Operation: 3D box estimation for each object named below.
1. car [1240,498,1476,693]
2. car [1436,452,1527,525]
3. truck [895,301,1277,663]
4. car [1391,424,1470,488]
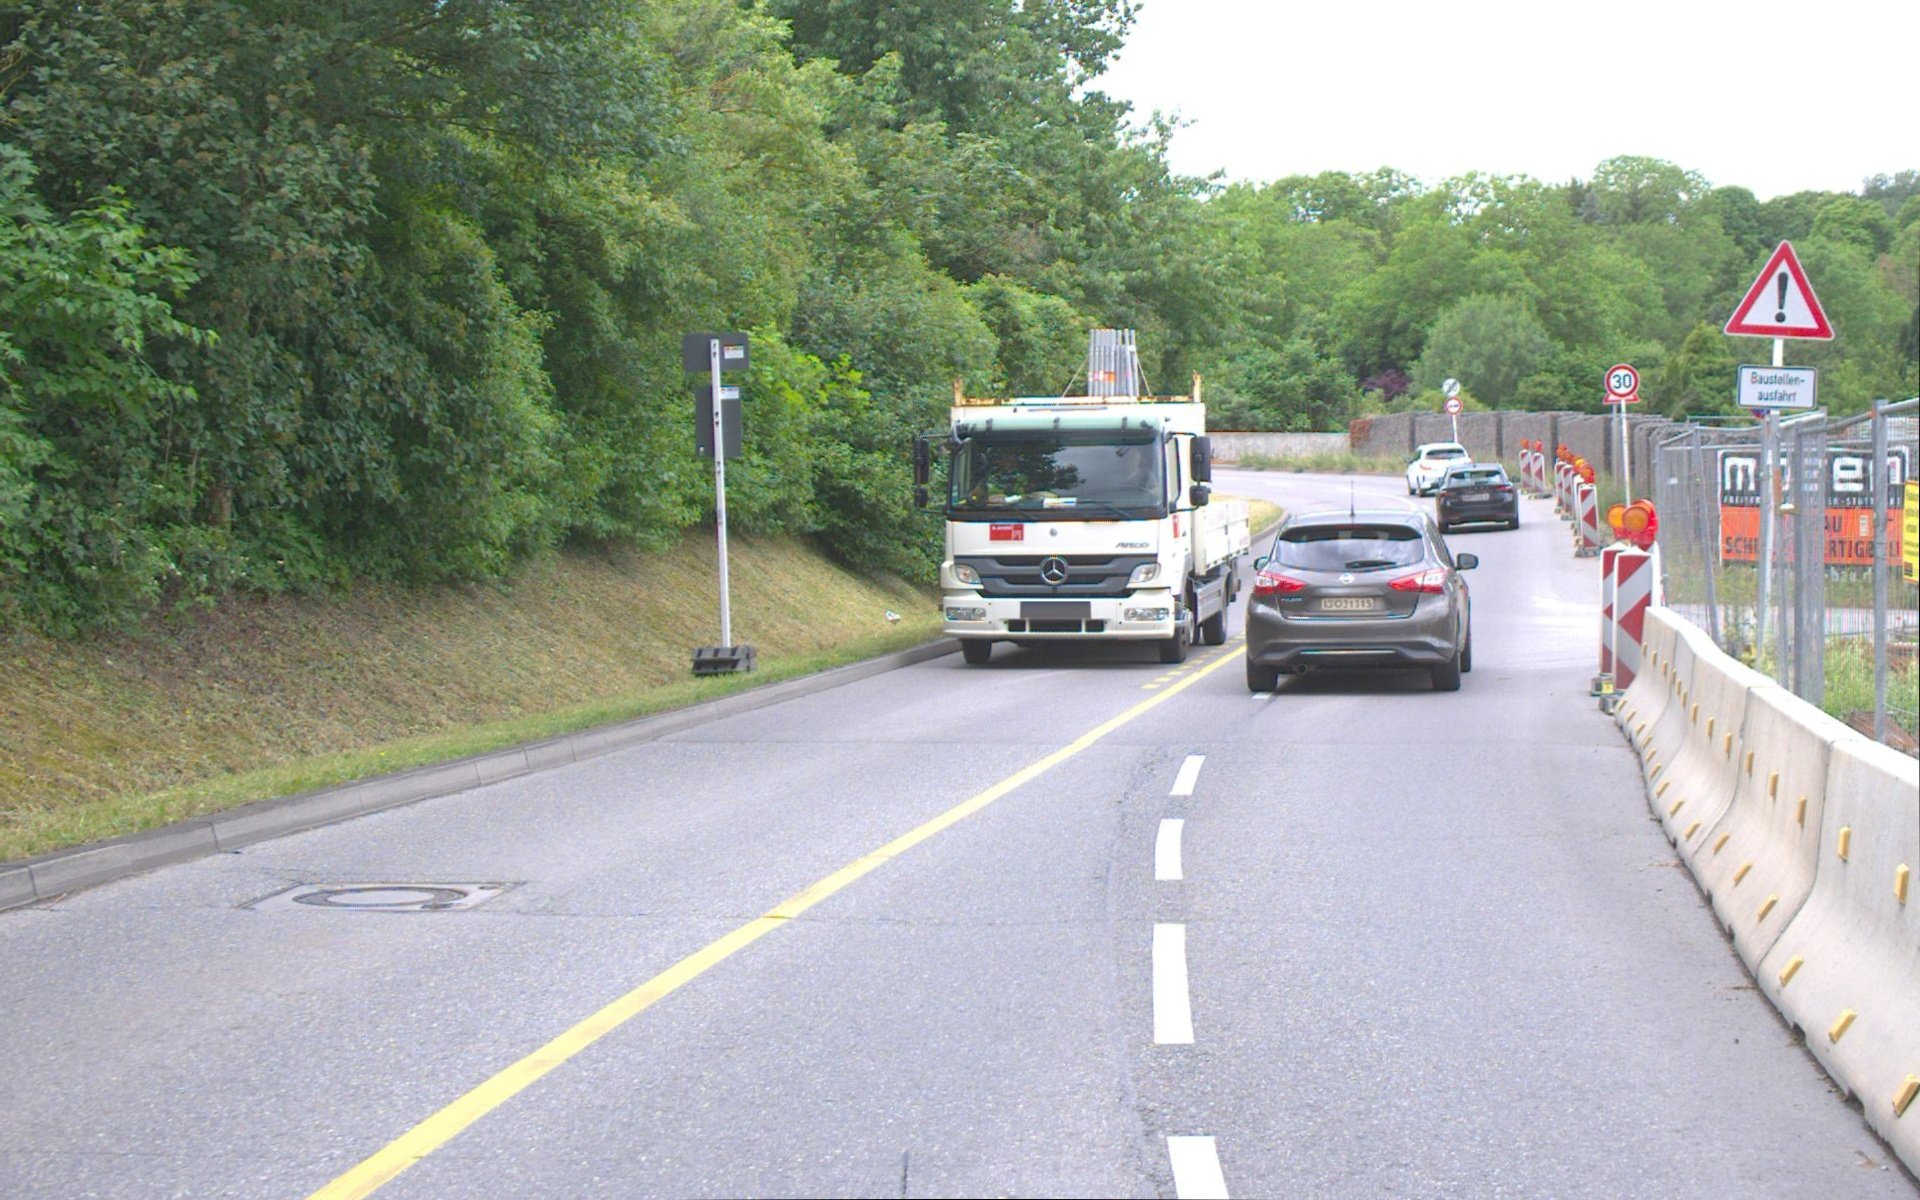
[{"bbox_3d":[3.534,-0.098,29.985,1.798,1.546,3.999,1,2,10],"label":"car"},{"bbox_3d":[11.435,-2.423,75.275,1.820,1.546,3.787,0,1,11],"label":"car"},{"bbox_3d":[1.559,-1.275,36.532,2.821,3.324,8.378,-2,2,10],"label":"truck"},{"bbox_3d":[13.703,-4.178,100.306,1.711,1.669,4.000,-2,0,0],"label":"car"}]
